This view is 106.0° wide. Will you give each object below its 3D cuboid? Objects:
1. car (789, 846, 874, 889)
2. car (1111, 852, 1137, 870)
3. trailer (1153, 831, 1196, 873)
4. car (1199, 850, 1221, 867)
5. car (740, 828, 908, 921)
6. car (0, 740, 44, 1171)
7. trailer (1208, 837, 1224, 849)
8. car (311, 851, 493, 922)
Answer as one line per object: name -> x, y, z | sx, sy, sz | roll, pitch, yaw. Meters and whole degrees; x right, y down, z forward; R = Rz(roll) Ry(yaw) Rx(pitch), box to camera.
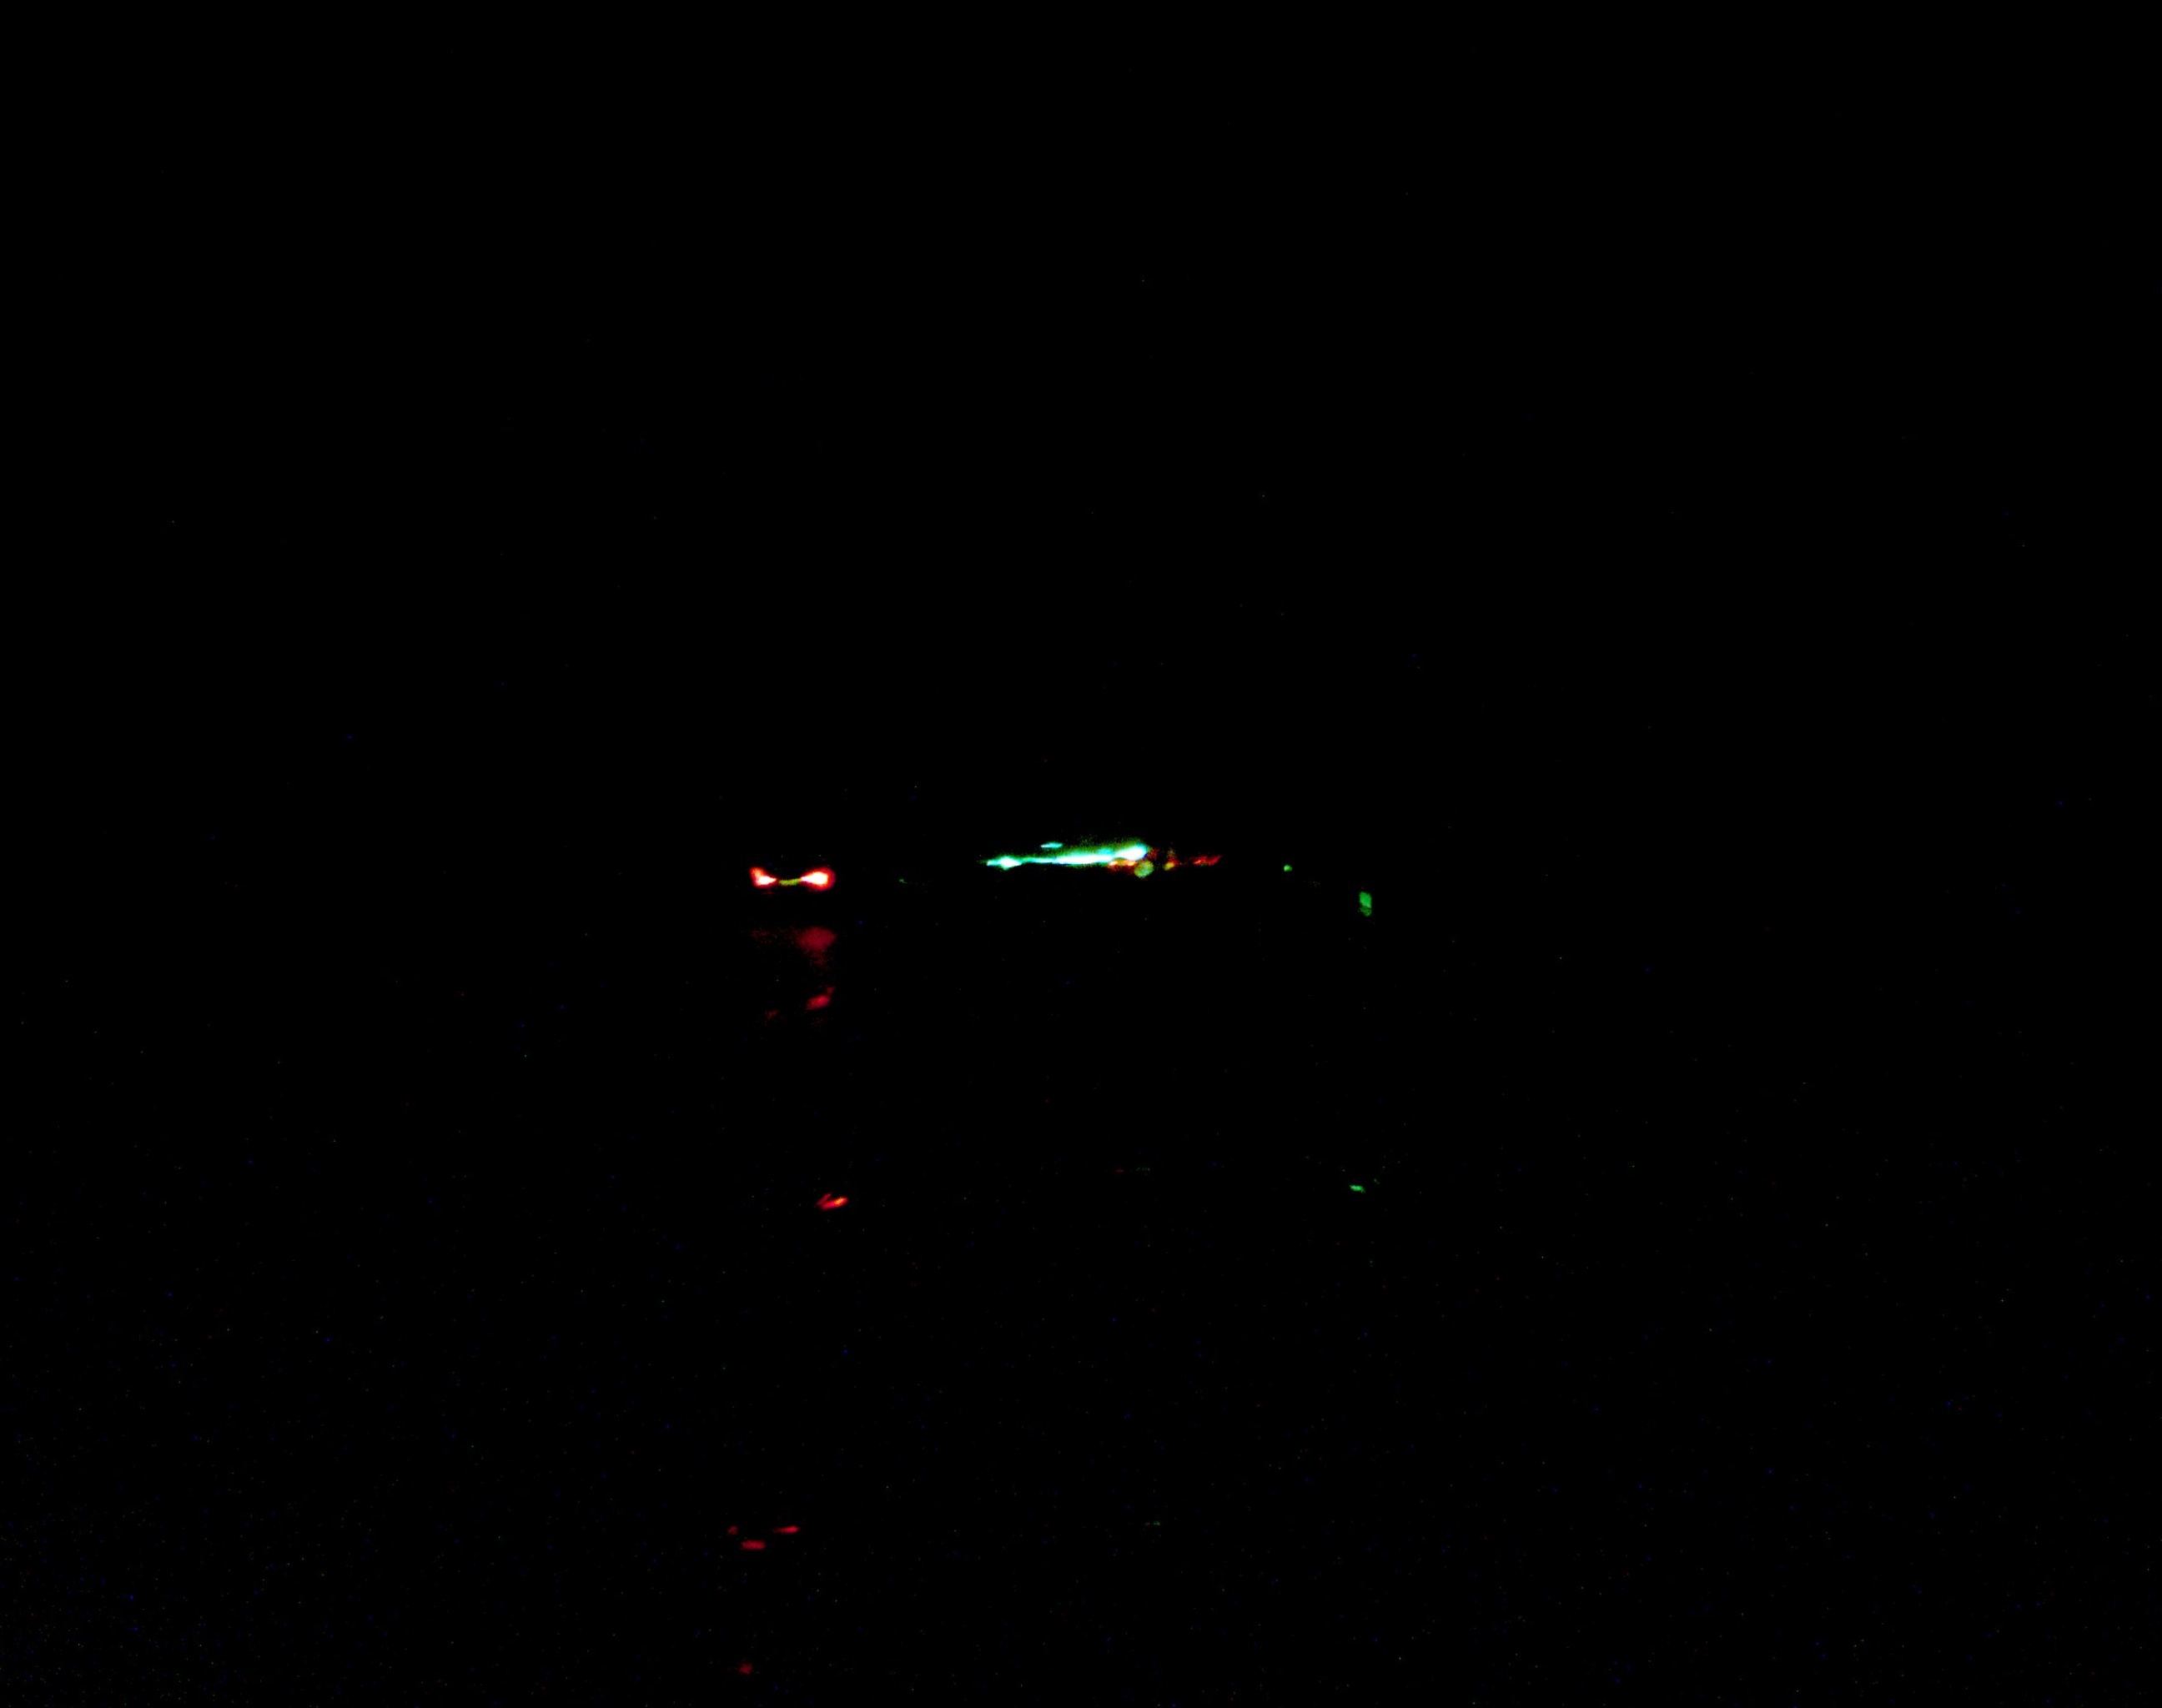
car -> -12.704, 0.638, 41.829 | 1.979, 2.013, 4.585 | 2, 0, 15
car -> 4.242, 0.667, 80.008 | 1.981, 1.618, 4.011 | 2, 0, 10
trailer -> 9.406, -0.167, 80.618 | 2.574, 3.725, 13.700 | 2, 0, 13
car -> 14.703, 0.532, 92.703 | 1.979, 1.818, 4.015 | 2, 0, 14
car -> -6.301, 0.454, 20.631 | 1.980, 2.013, 4.583 | 2, 0, 12
car -> -6.628, 0.483, 1.749 | 1.979, 2.014, 5.037 | -1, 0, 15
trailer -> 33.312, -2.590, 200.887 | 2.668, 2.699, 12.907 | 2, 0, 14
car -> -21.492, 0.955, 25.999 | 1.980, 2.013, 4.014 | 2, 0, 12
